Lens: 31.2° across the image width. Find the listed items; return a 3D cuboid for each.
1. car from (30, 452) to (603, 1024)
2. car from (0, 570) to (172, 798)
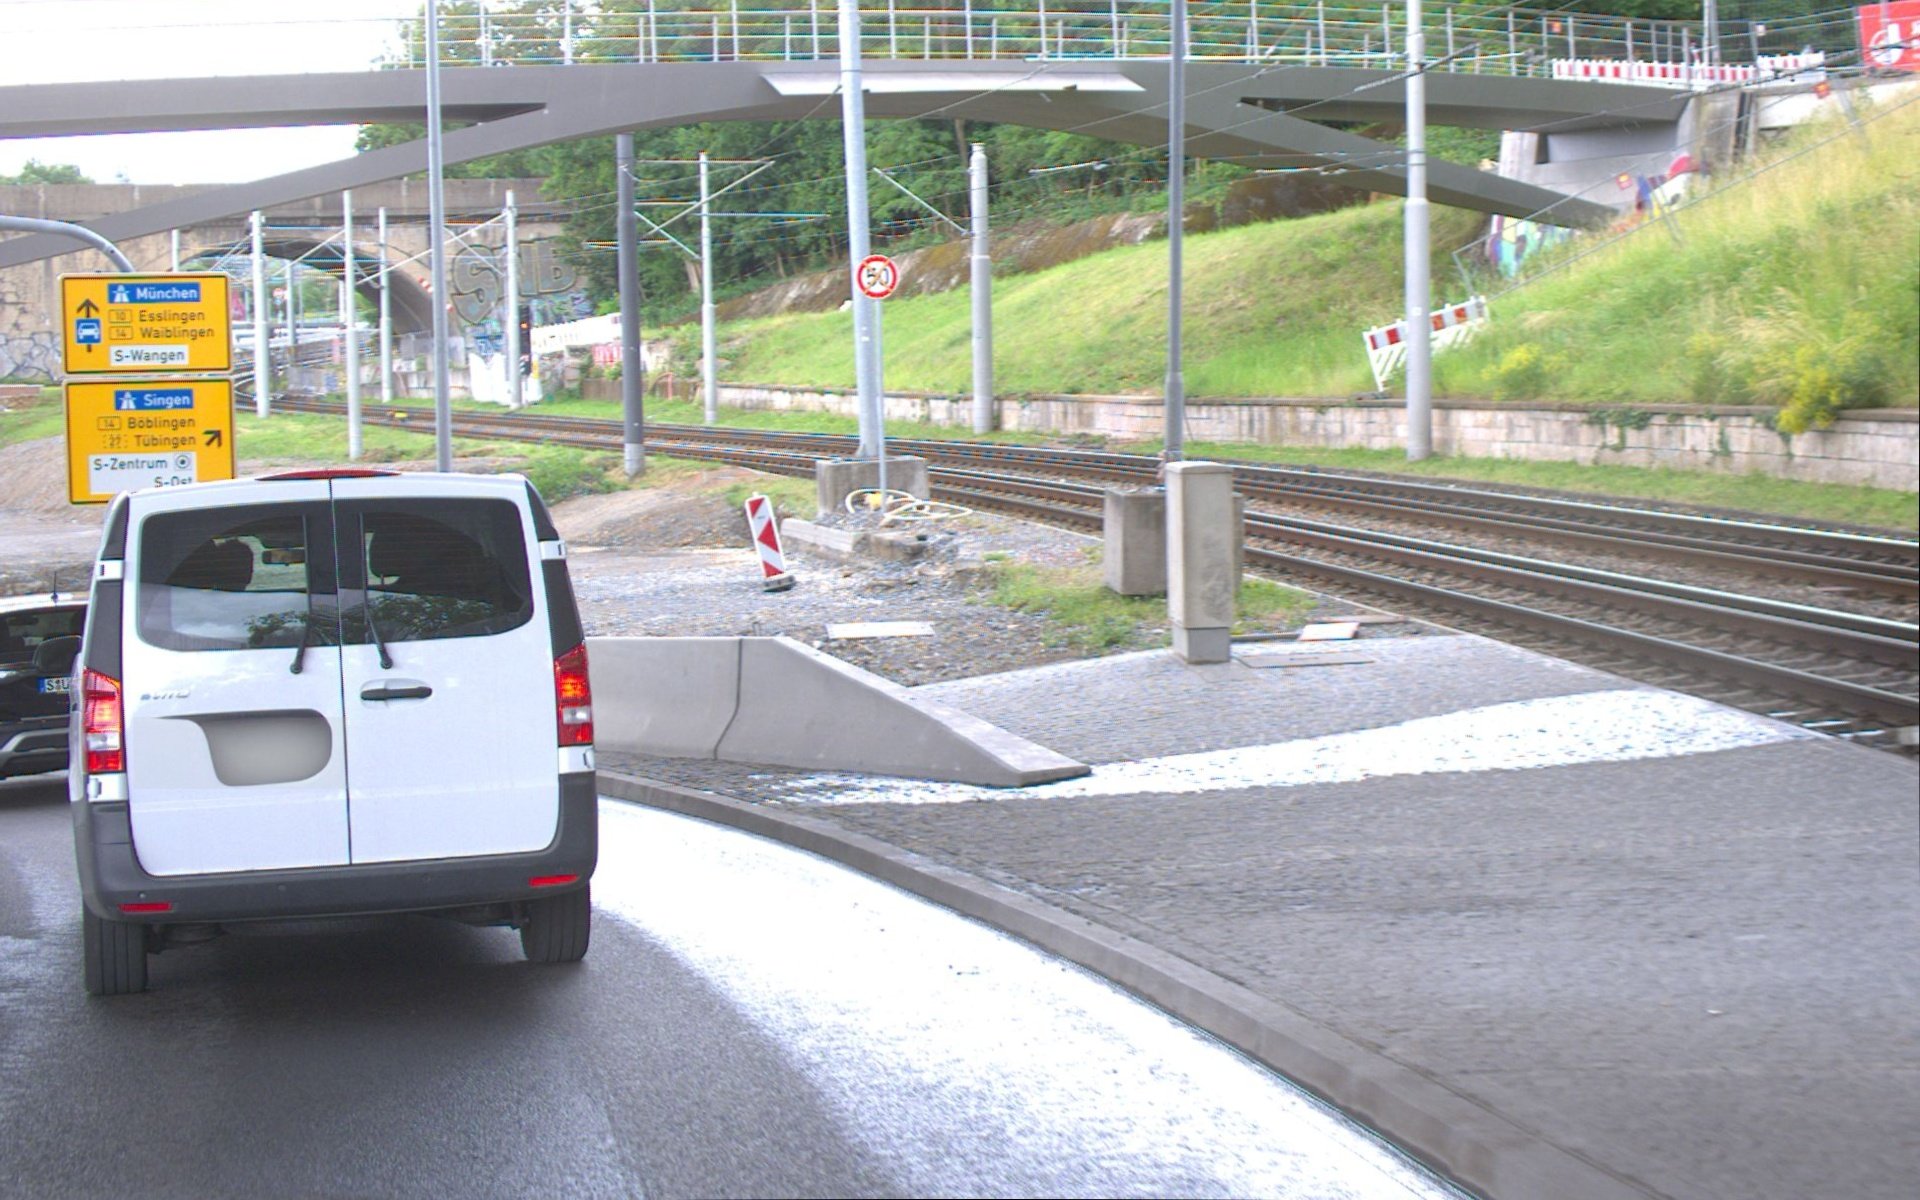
[{"bbox_3d":[-2.709,0.460,14.102,1.875,1.884,4.754,-2,0,-13],"label":"car"},{"bbox_3d":[-7.416,0.609,27.106,1.749,1.619,3.846,-2,1,-22],"label":"car"}]
